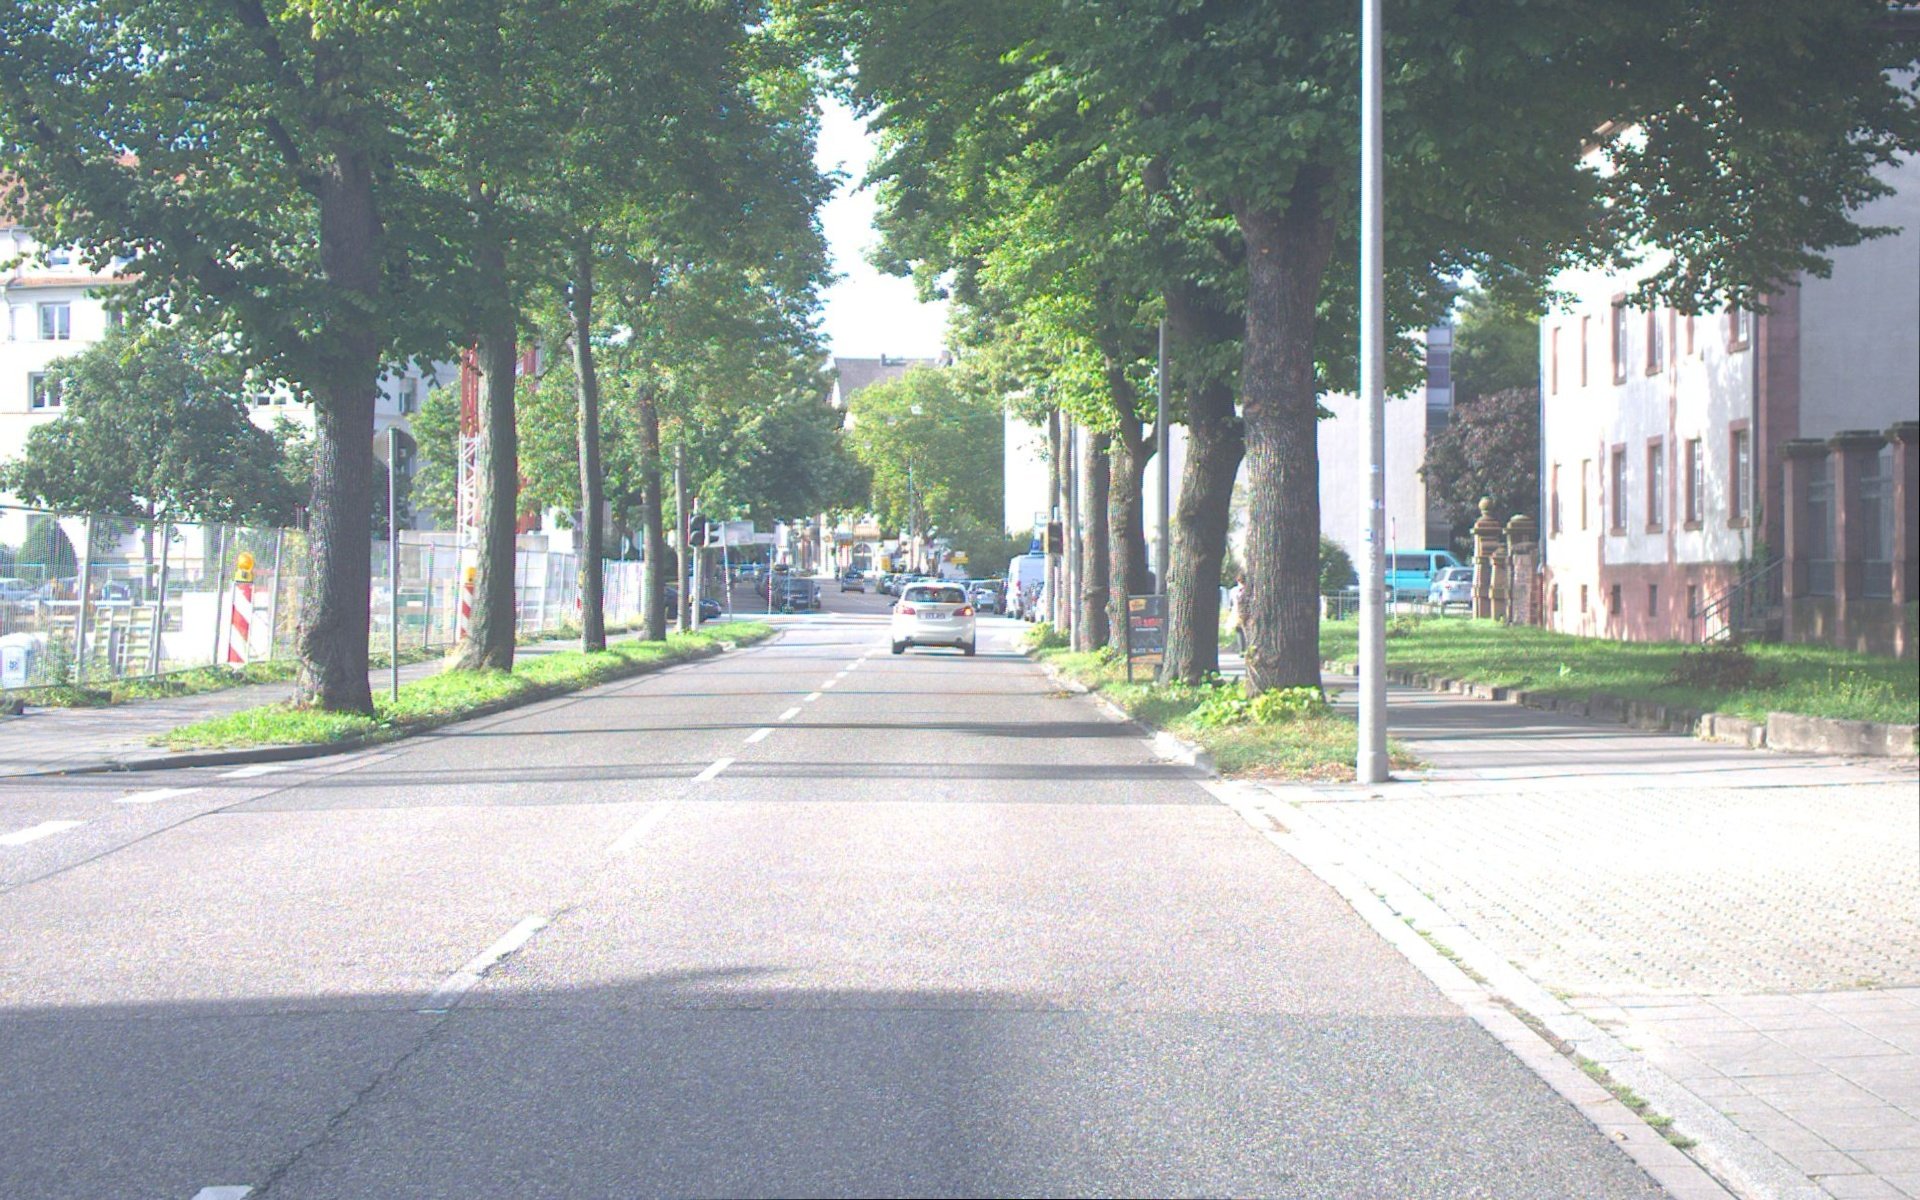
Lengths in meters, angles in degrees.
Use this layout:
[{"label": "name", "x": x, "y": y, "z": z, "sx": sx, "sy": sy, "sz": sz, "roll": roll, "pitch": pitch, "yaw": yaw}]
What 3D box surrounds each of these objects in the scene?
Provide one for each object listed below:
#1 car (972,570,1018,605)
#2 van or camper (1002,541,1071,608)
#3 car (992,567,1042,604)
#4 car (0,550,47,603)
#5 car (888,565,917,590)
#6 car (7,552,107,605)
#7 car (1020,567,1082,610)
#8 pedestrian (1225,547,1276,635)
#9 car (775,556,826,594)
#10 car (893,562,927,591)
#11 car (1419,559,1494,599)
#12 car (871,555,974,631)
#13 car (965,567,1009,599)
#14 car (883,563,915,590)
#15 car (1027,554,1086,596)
[{"label": "car", "x": 1.611, "y": -0.598, "z": 159.071, "sx": 1.993, "sy": 1.568, "sz": 4.000, "roll": 0, "pitch": 1, "yaw": -1}, {"label": "van or camper", "x": 3.035, "y": -1.031, "z": 137.531, "sx": 2.209, "sy": 2.598, "sz": 5.372, "roll": 0, "pitch": 1, "yaw": -4}, {"label": "car", "x": 2.449, "y": -0.646, "z": 148.465, "sx": 1.993, "sy": 1.568, "sz": 4.000, "roll": 0, "pitch": 1, "yaw": -1}, {"label": "car", "x": -37.234, "y": -0.906, "z": 132.918, "sx": 1.995, "sy": 2.007, "sz": 3.997, "roll": 0, "pitch": 1, "yaw": 15}, {"label": "car", "x": -4.103, "y": -1.595, "z": 245.854, "sx": 1.993, "sy": 1.749, "sz": 4.000, "roll": 1, "pitch": 0, "yaw": 0}, {"label": "car", "x": -34.770, "y": -0.826, "z": 132.461, "sx": 1.995, "sy": 2.007, "sz": 3.997, "roll": 0, "pitch": 1, "yaw": 15}, {"label": "car", "x": 3.455, "y": -0.458, "z": 131.500, "sx": 1.993, "sy": 1.610, "sz": 4.408, "roll": 0, "pitch": 1, "yaw": -3}, {"label": "pedestrian", "x": 5.386, "y": -0.169, "z": 63.843, "sx": 0.814, "sy": 1.585, "sz": 0.769, "roll": -2, "pitch": 0, "yaw": -1}, {"label": "car", "x": -7.132, "y": -1.130, "z": 153.889, "sx": 1.993, "sy": 1.634, "sz": 4.001, "roll": 0, "pitch": 1, "yaw": -7}, {"label": "car", "x": -3.096, "y": -1.443, "z": 211.938, "sx": 1.993, "sy": 1.749, "sz": 4.000, "roll": 1, "pitch": 0, "yaw": 0}, {"label": "car", "x": 18.248, "y": -0.801, "z": 126.525, "sx": 1.993, "sy": 1.437, "sz": 4.001, "roll": 0, "pitch": 1, "yaw": -3}, {"label": "car", "x": -0.850, "y": -0.157, "z": 74.576, "sx": 1.993, "sy": 1.549, "sz": 4.274, "roll": 1, "pitch": 0, "yaw": -3}, {"label": "car", "x": 1.291, "y": -0.820, "z": 166.866, "sx": 1.993, "sy": 1.525, "sz": 4.000, "roll": 0, "pitch": 1, "yaw": -1}, {"label": "car", "x": -3.982, "y": -1.529, "z": 225.108, "sx": 1.993, "sy": 1.749, "sz": 4.000, "roll": 1, "pitch": 0, "yaw": 0}, {"label": "car", "x": 3.460, "y": -0.891, "z": 123.632, "sx": 2.015, "sy": 1.470, "sz": 4.802, "roll": -1, "pitch": 0, "yaw": 1}]
